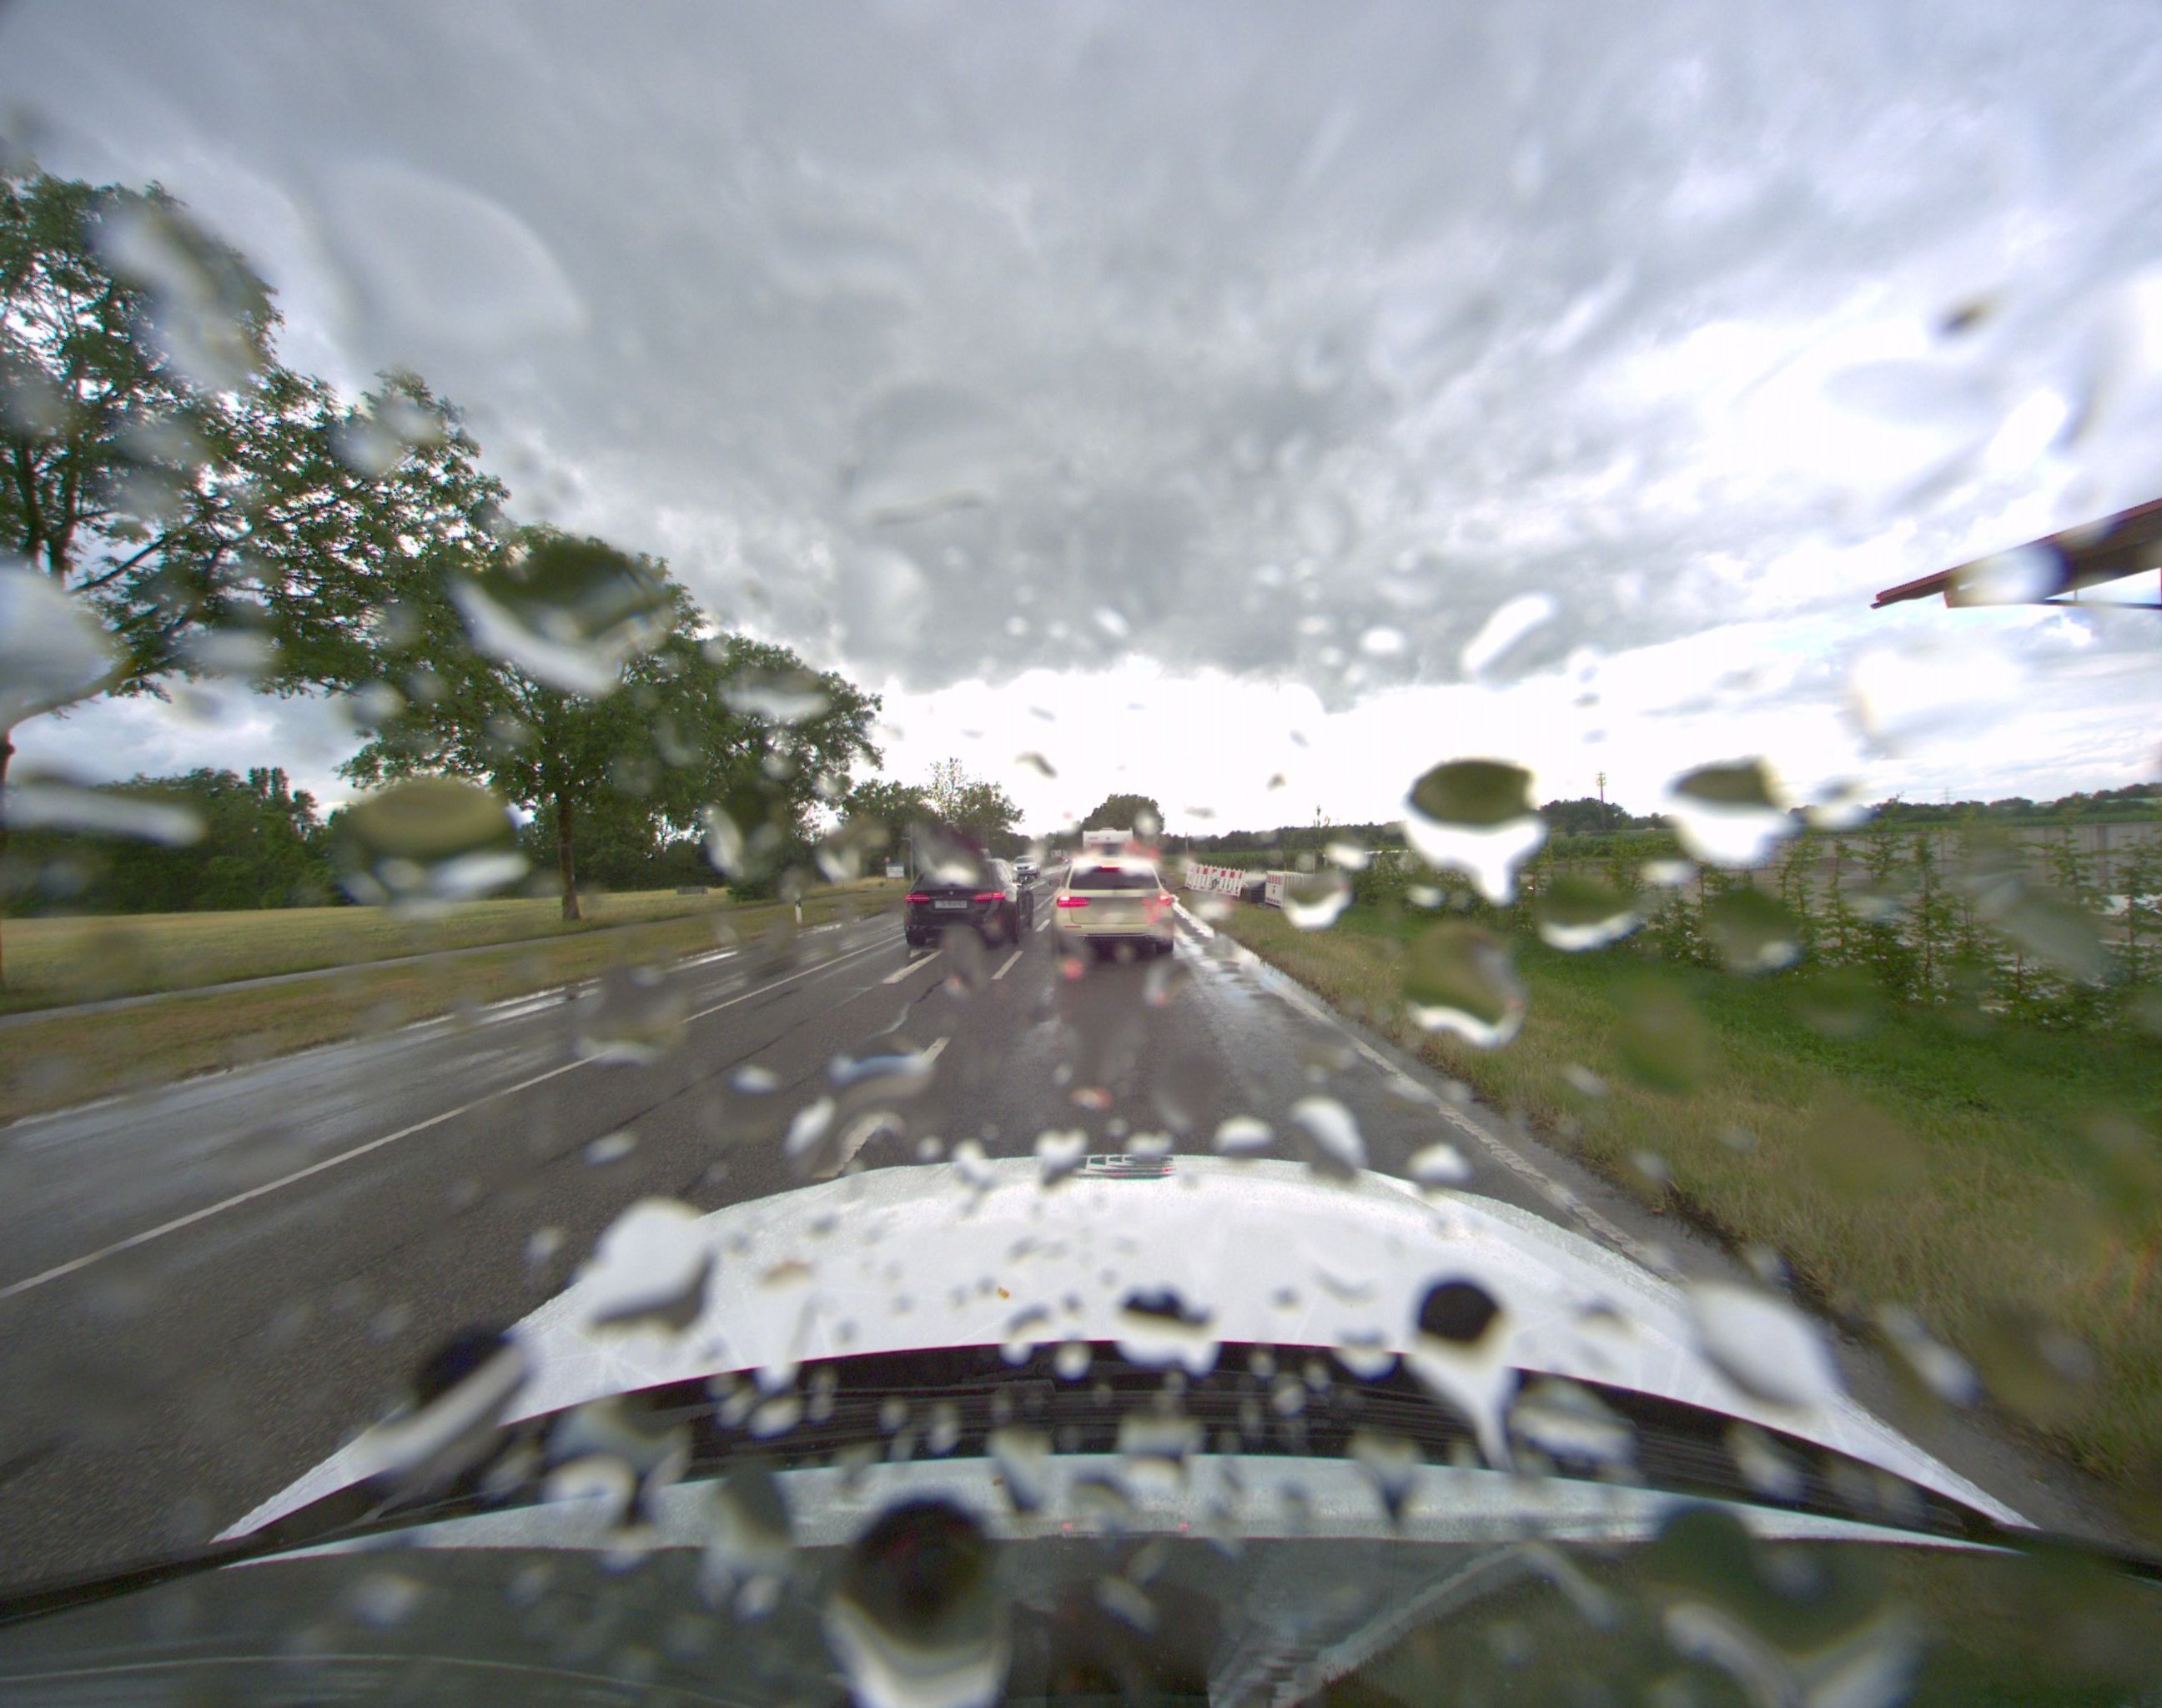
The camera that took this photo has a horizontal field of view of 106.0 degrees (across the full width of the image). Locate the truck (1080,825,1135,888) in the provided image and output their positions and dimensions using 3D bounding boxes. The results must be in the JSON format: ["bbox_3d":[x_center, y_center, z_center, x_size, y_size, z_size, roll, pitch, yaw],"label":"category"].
[{"bbox_3d":[1.272,0.129,40.114,2.355,2.729,7.316,-3,0,1],"label":"truck"}]

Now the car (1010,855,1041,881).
[{"bbox_3d":[-3.963,0.985,59.116,1.697,1.671,4.158,-4,0,2],"label":"car"}]

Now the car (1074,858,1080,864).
[{"bbox_3d":[-1.225,2.215,255.544,1.888,1.839,3.882,-2,0,1],"label":"car"}]

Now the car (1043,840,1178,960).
[{"bbox_3d":[0.454,0.646,13.254,1.836,1.618,4.001,-1,0,1],"label":"car"}]

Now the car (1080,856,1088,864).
[{"bbox_3d":[0.668,1.608,207.594,1.891,1.895,3.840,-3,0,-2],"label":"car"}]

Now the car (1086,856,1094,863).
[{"bbox_3d":[2.069,1.250,182.347,1.676,1.550,3.753,-1,0,1],"label":"car"}]

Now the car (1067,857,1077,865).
[{"bbox_3d":[-1.677,1.311,153.433,1.714,1.404,4.043,-4,0,0],"label":"car"}]

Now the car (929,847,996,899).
[{"bbox_3d":[-4.801,0.749,33.709,1.910,1.861,4.685,-4,0,1],"label":"car"}]

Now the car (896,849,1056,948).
[{"bbox_3d":[-1.740,0.723,15.236,2.294,1.547,4.633,-1,0,1],"label":"car"}]

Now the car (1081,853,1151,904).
[{"bbox_3d":[1.053,0.717,25.413,1.986,1.462,4.001,-1,0,1],"label":"car"}]
